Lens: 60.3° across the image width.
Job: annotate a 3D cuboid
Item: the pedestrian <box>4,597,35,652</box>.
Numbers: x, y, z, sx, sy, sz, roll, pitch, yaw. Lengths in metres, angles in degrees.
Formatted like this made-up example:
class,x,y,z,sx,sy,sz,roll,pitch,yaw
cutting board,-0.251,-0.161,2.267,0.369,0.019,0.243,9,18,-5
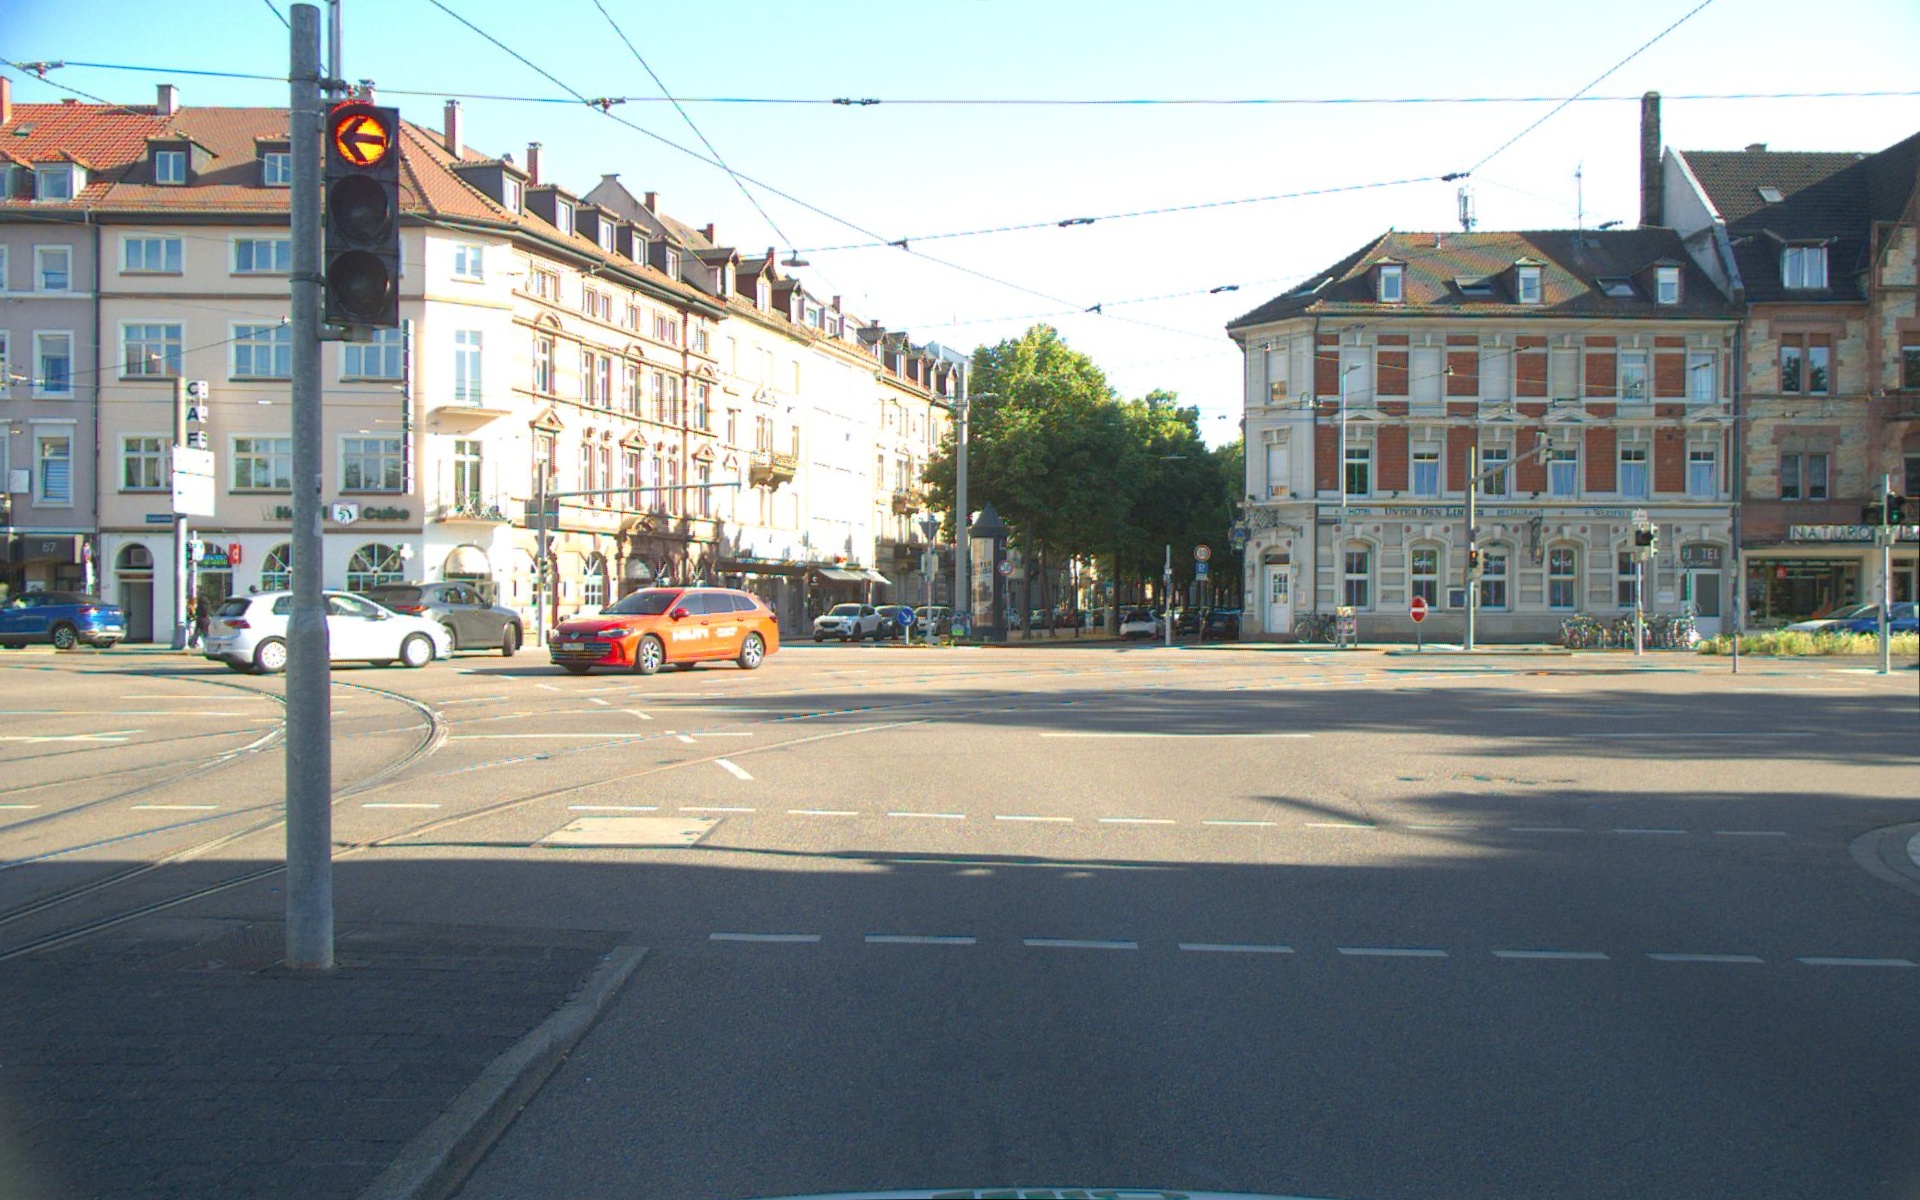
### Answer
class,x,y,z,sx,sy,sz,roll,pitch,yaw
pedestrian,-28.783,0.754,50.611,0.572,1.677,0.616,1,-1,-1

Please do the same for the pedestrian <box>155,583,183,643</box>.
class,x,y,z,sx,sy,sz,roll,pitch,yaw
pedestrian,-22.372,0.367,46.794,0.512,1.677,0.497,1,-1,-1

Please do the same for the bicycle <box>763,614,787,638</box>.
class,x,y,z,sx,sy,sz,roll,pitch,yaw
bicycle,-7.529,1.061,67.421,0.462,0.938,1.453,1,0,14

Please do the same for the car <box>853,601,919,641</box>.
class,x,y,z,sx,sy,sz,roll,pitch,yaw
car,-3.270,0.926,73.458,1.786,1.715,3.877,1,0,16

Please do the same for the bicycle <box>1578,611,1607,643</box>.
class,x,y,z,sx,sy,sz,roll,pitch,yaw
bicycle,20.562,0.868,53.796,0.749,0.985,2.211,1,0,17

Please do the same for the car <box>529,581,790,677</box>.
class,x,y,z,sx,sy,sz,roll,pitch,yaw
car,-5.196,0.437,29.299,1.765,1.495,4.862,1,1,32

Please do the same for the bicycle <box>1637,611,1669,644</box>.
class,x,y,z,sx,sy,sz,roll,pitch,yaw
bicycle,22.472,0.888,53.672,0.749,1.025,2.221,1,0,17

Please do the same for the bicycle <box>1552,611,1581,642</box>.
class,x,y,z,sx,sy,sz,roll,pitch,yaw
bicycle,19.807,0.855,54.033,0.749,0.979,2.211,1,0,17

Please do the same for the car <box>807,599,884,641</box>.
class,x,y,z,sx,sy,sz,roll,pitch,yaw
car,-4.615,0.802,67.193,1.764,1.613,4.162,1,0,16

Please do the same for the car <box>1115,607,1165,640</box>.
class,x,y,z,sx,sy,sz,roll,pitch,yaw
car,8.750,1.105,80.096,1.852,1.479,4.012,0,1,14

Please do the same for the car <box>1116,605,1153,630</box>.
class,x,y,z,sx,sy,sz,roll,pitch,yaw
car,12.358,1.222,116.899,1.951,1.713,4.003,1,0,15

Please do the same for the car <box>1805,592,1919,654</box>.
class,x,y,z,sx,sy,sz,roll,pitch,yaw
car,25.919,0.633,46.027,3.905,1.650,1.804,1,0,0

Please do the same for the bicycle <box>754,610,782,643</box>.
class,x,y,z,sx,sy,sz,roll,pitch,yaw
bicycle,-7.554,1.051,65.169,0.553,1.276,1.558,1,0,14

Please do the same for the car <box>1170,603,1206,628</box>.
class,x,y,z,sx,sy,sz,roll,pitch,yaw
car,13.216,0.888,95.782,1.786,1.428,4.003,0,0,12

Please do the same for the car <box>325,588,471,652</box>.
class,x,y,z,sx,sy,sz,roll,pitch,yaw
car,-14.568,0.478,42.822,3.843,1.530,1.783,1,2,38

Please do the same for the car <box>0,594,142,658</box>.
class,x,y,z,sx,sy,sz,roll,pitch,yaw
car,-24.023,0.656,43.562,4.096,1.602,1.832,0,0,5

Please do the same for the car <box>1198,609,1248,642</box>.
class,x,y,z,sx,sy,sz,roll,pitch,yaw
car,13.134,1.269,82.504,1.719,1.583,4.001,1,0,20

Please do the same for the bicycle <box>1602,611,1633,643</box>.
class,x,y,z,sx,sy,sz,roll,pitch,yaw
bicycle,21.340,0.881,53.703,0.749,1.001,2.211,1,0,17

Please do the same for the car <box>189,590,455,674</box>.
class,x,y,z,sx,sy,sz,roll,pitch,yaw
car,-11.506,0.523,29.984,4.191,1.414,1.708,0,0,-42

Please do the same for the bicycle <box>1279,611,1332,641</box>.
class,x,y,z,sx,sy,sz,roll,pitch,yaw
bicycle,11.979,0.901,57.286,1.764,0.979,0.604,1,0,14

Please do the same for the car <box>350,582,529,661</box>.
class,x,y,z,sx,sy,sz,roll,pitch,yaw
car,-11.376,0.438,36.481,1.828,1.630,4.458,-1,0,12

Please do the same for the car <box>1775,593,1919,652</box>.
class,x,y,z,sx,sy,sz,roll,pitch,yaw
car,26.609,0.658,49.151,3.905,1.650,1.804,1,0,0

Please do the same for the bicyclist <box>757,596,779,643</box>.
class,x,y,z,sx,sy,sz,roll,pitch,yaw
bicyclist,-7.557,0.764,65.179,0.553,1.835,0.915,1,-1,14

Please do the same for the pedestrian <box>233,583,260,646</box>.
class,x,y,z,sx,sy,sz,roll,pitch,yaw
pedestrian,-21.184,0.436,49.108,0.517,1.854,0.675,1,-1,-8

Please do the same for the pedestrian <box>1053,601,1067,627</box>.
class,x,y,z,sx,sy,sz,roll,pitch,yaw
pedestrian,7.094,1.002,117.196,0.703,1.821,0.688,1,-1,-36

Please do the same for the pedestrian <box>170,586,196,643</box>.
class,x,y,z,sx,sy,sz,roll,pitch,yaw
pedestrian,-23.024,0.433,49.033,0.512,1.677,0.497,1,-1,-1

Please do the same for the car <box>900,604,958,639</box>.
class,x,y,z,sx,sy,sz,roll,pitch,yaw
car,-1.480,1.018,79.465,1.764,1.603,3.893,1,0,15

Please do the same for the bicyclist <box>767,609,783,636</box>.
class,x,y,z,sx,sy,sz,roll,pitch,yaw
bicyclist,-7.528,0.915,67.432,0.462,1.058,0.538,1,-1,14

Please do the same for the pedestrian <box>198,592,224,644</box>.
class,x,y,z,sx,sy,sz,roll,pitch,yaw
pedestrian,-22.035,0.527,48.687,0.481,1.518,0.556,1,-1,-1

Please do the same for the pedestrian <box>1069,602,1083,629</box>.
class,x,y,z,sx,sy,sz,roll,pitch,yaw
pedestrian,8.974,1.198,127.762,0.736,2.049,0.999,1,-1,22

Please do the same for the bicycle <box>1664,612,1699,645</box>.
class,x,y,z,sx,sy,sz,roll,pitch,yaw
bicycle,23.319,0.901,53.483,0.775,1.033,2.211,1,0,17
